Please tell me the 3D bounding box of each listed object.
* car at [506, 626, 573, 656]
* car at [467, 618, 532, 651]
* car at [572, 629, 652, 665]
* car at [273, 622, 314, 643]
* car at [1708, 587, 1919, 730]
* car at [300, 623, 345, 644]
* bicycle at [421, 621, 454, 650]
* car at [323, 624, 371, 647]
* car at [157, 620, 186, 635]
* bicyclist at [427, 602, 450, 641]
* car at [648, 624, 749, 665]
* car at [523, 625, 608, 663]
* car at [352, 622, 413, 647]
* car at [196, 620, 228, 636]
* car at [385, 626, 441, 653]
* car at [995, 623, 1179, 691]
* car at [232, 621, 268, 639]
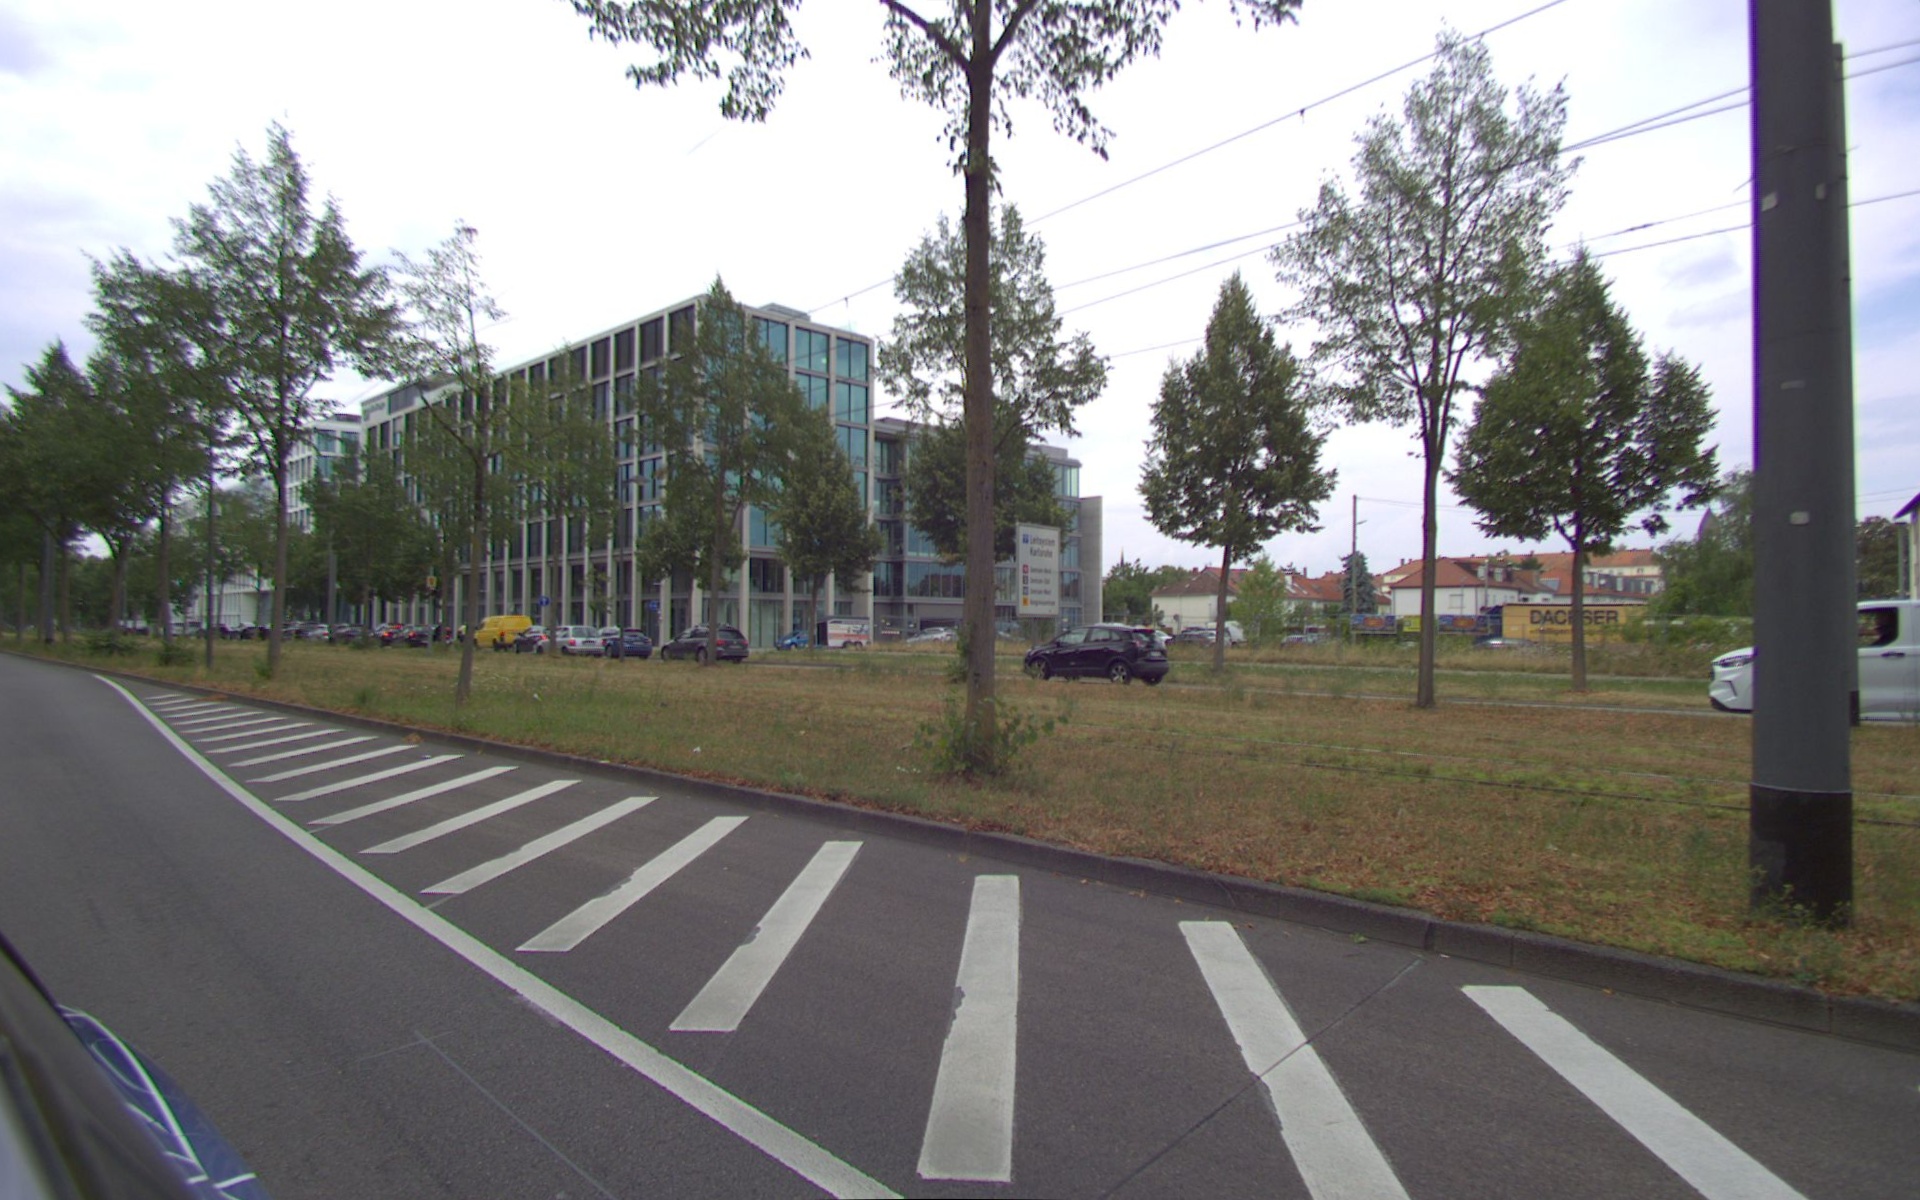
[{"bbox_3d":[-21.212,2.026,51.012,3.866,1.468,1.729,-1,-2,44],"label":"car"},{"bbox_3d":[-25.634,1.903,56.270,1.929,1.785,4.447,1,-2,-44],"label":"car"},{"bbox_3d":[-15.403,2.034,44.717,3.864,1.508,1.730,-1,-2,42],"label":"car"},{"bbox_3d":[-49.255,2.376,74.773,3.865,1.468,1.729,-1,-2,43],"label":"car"},{"bbox_3d":[13.931,0.818,14.530,5.087,1.959,1.975,-1,-2,37],"label":"car"},{"bbox_3d":[-44.553,2.321,70.708,3.865,1.468,1.729,-1,-2,43],"label":"car"},{"bbox_3d":[-27.891,1.886,53.965,2.356,1.499,0.702,-2,0,41],"label":"bicycle"},{"bbox_3d":[-40.212,2.278,66.392,3.865,1.468,1.729,-1,-2,43],"label":"car"},{"bbox_3d":[-80.625,2.790,103.463,3.865,1.468,1.729,-1,-2,43],"label":"car"},{"bbox_3d":[-27.744,1.150,53.843,0.994,2.029,0.733,-1,1,40],"label":"bicyclist"},{"bbox_3d":[-10.387,1.720,40.122,4.276,1.541,1.731,-1,-2,40],"label":"car"},{"bbox_3d":[-16.261,1.773,41.655,3.864,1.508,1.730,-1,-2,42],"label":"car"},{"bbox_3d":[-34.527,2.063,60.491,3.998,1.429,1.973,-1,-2,41],"label":"car"},{"bbox_3d":[-70.395,2.659,95.219,3.865,1.468,1.729,-1,-2,43],"label":"car"},{"bbox_3d":[-30.735,2.199,56.805,3.866,1.468,1.729,-1,-2,44],"label":"car"},{"bbox_3d":[3.329,1.452,27.089,4.688,1.669,1.809,-1,-2,40],"label":"car"},{"bbox_3d":[-59.708,2.515,85.081,3.865,1.468,1.729,-1,-2,43],"label":"car"}]
